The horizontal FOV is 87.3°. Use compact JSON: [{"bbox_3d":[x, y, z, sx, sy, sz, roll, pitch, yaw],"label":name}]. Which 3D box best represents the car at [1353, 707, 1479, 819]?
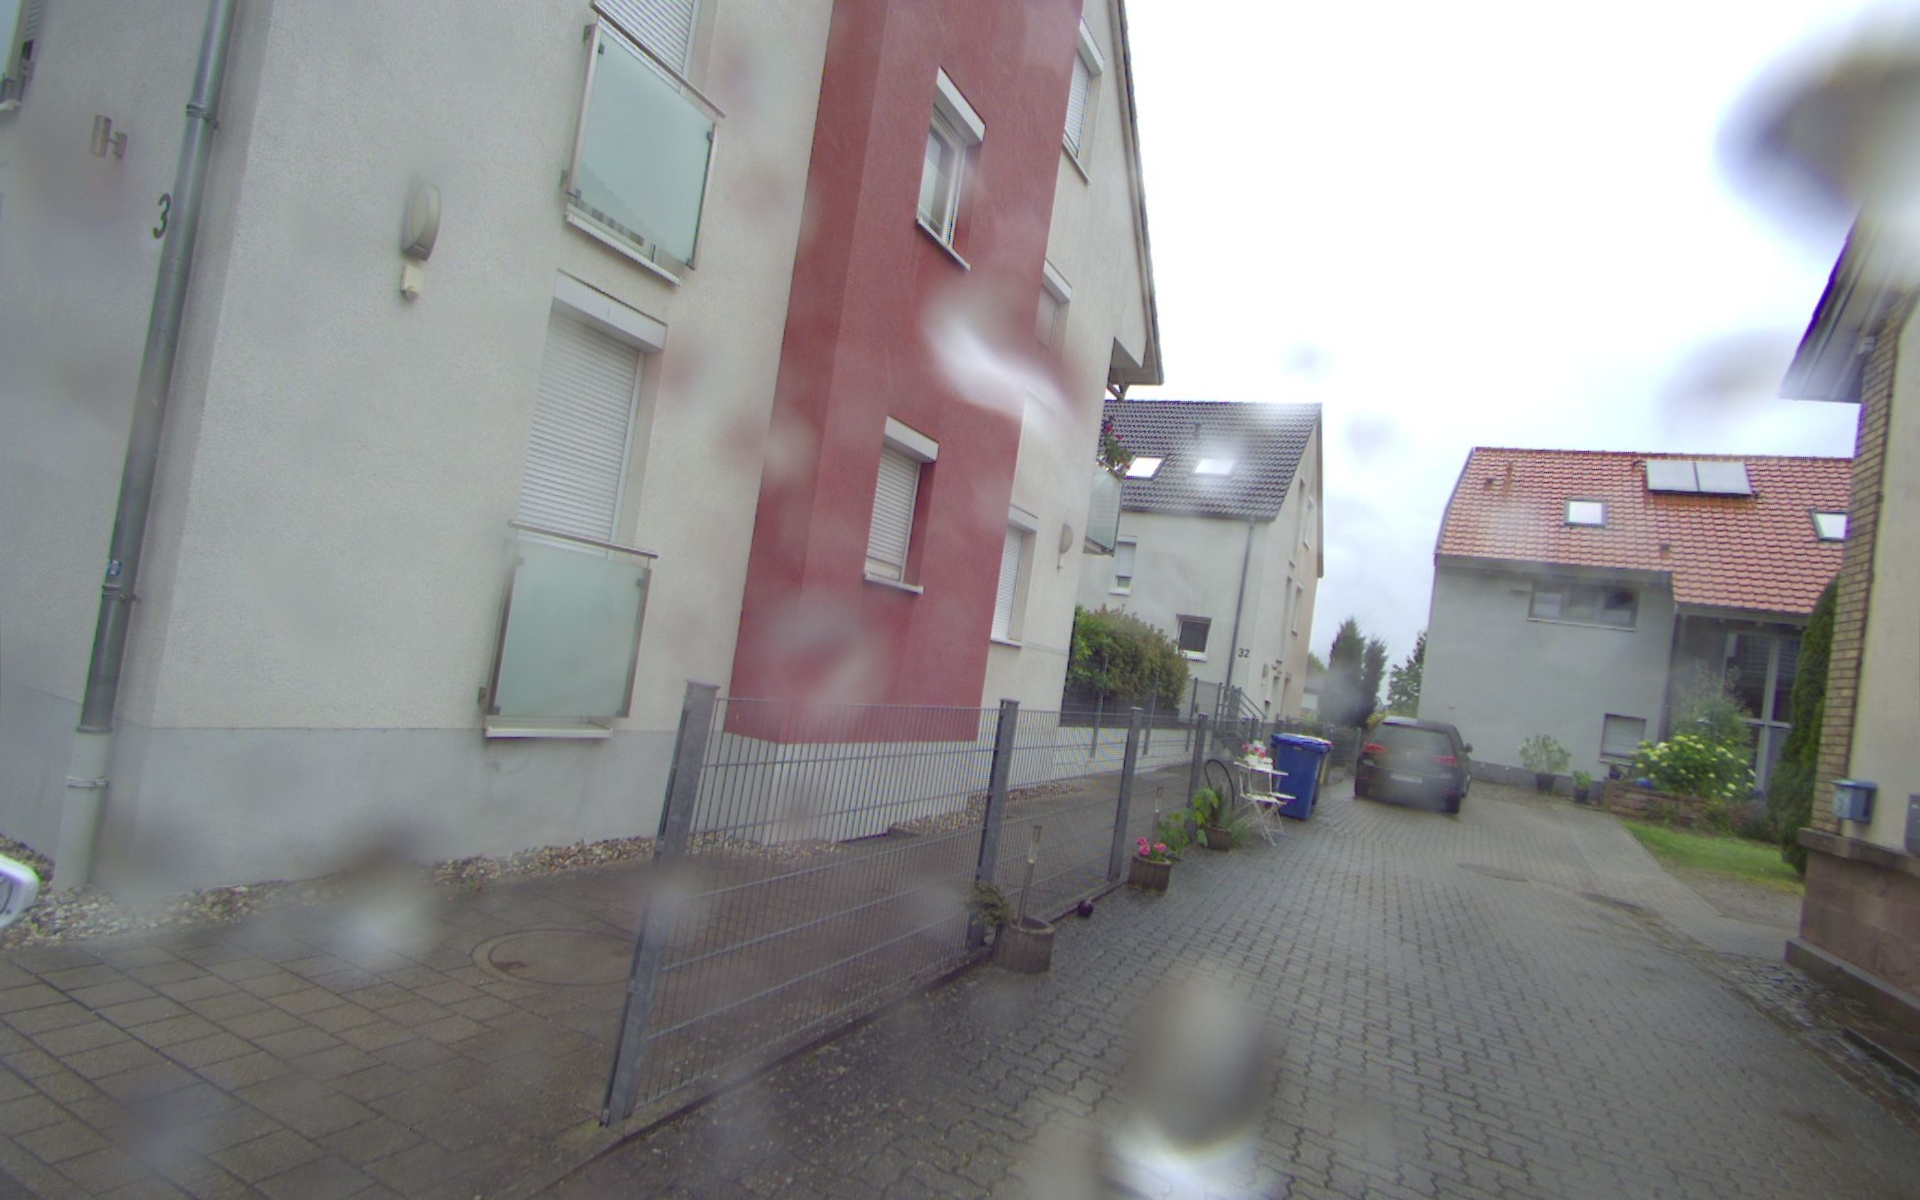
[{"bbox_3d":[8.554,2.913,18.697,1.656,1.491,3.993,7,0,30],"label":"car"}]

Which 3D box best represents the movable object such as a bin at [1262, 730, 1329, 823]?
[{"bbox_3d":[4.497,2.345,13.473,0.675,1.108,0.536,7,-2,25],"label":"movable object such as a bin"}]

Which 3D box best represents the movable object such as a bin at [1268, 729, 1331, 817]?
[{"bbox_3d":[4.820,2.438,14.256,0.675,1.108,0.536,7,-2,25],"label":"movable object such as a bin"}]
